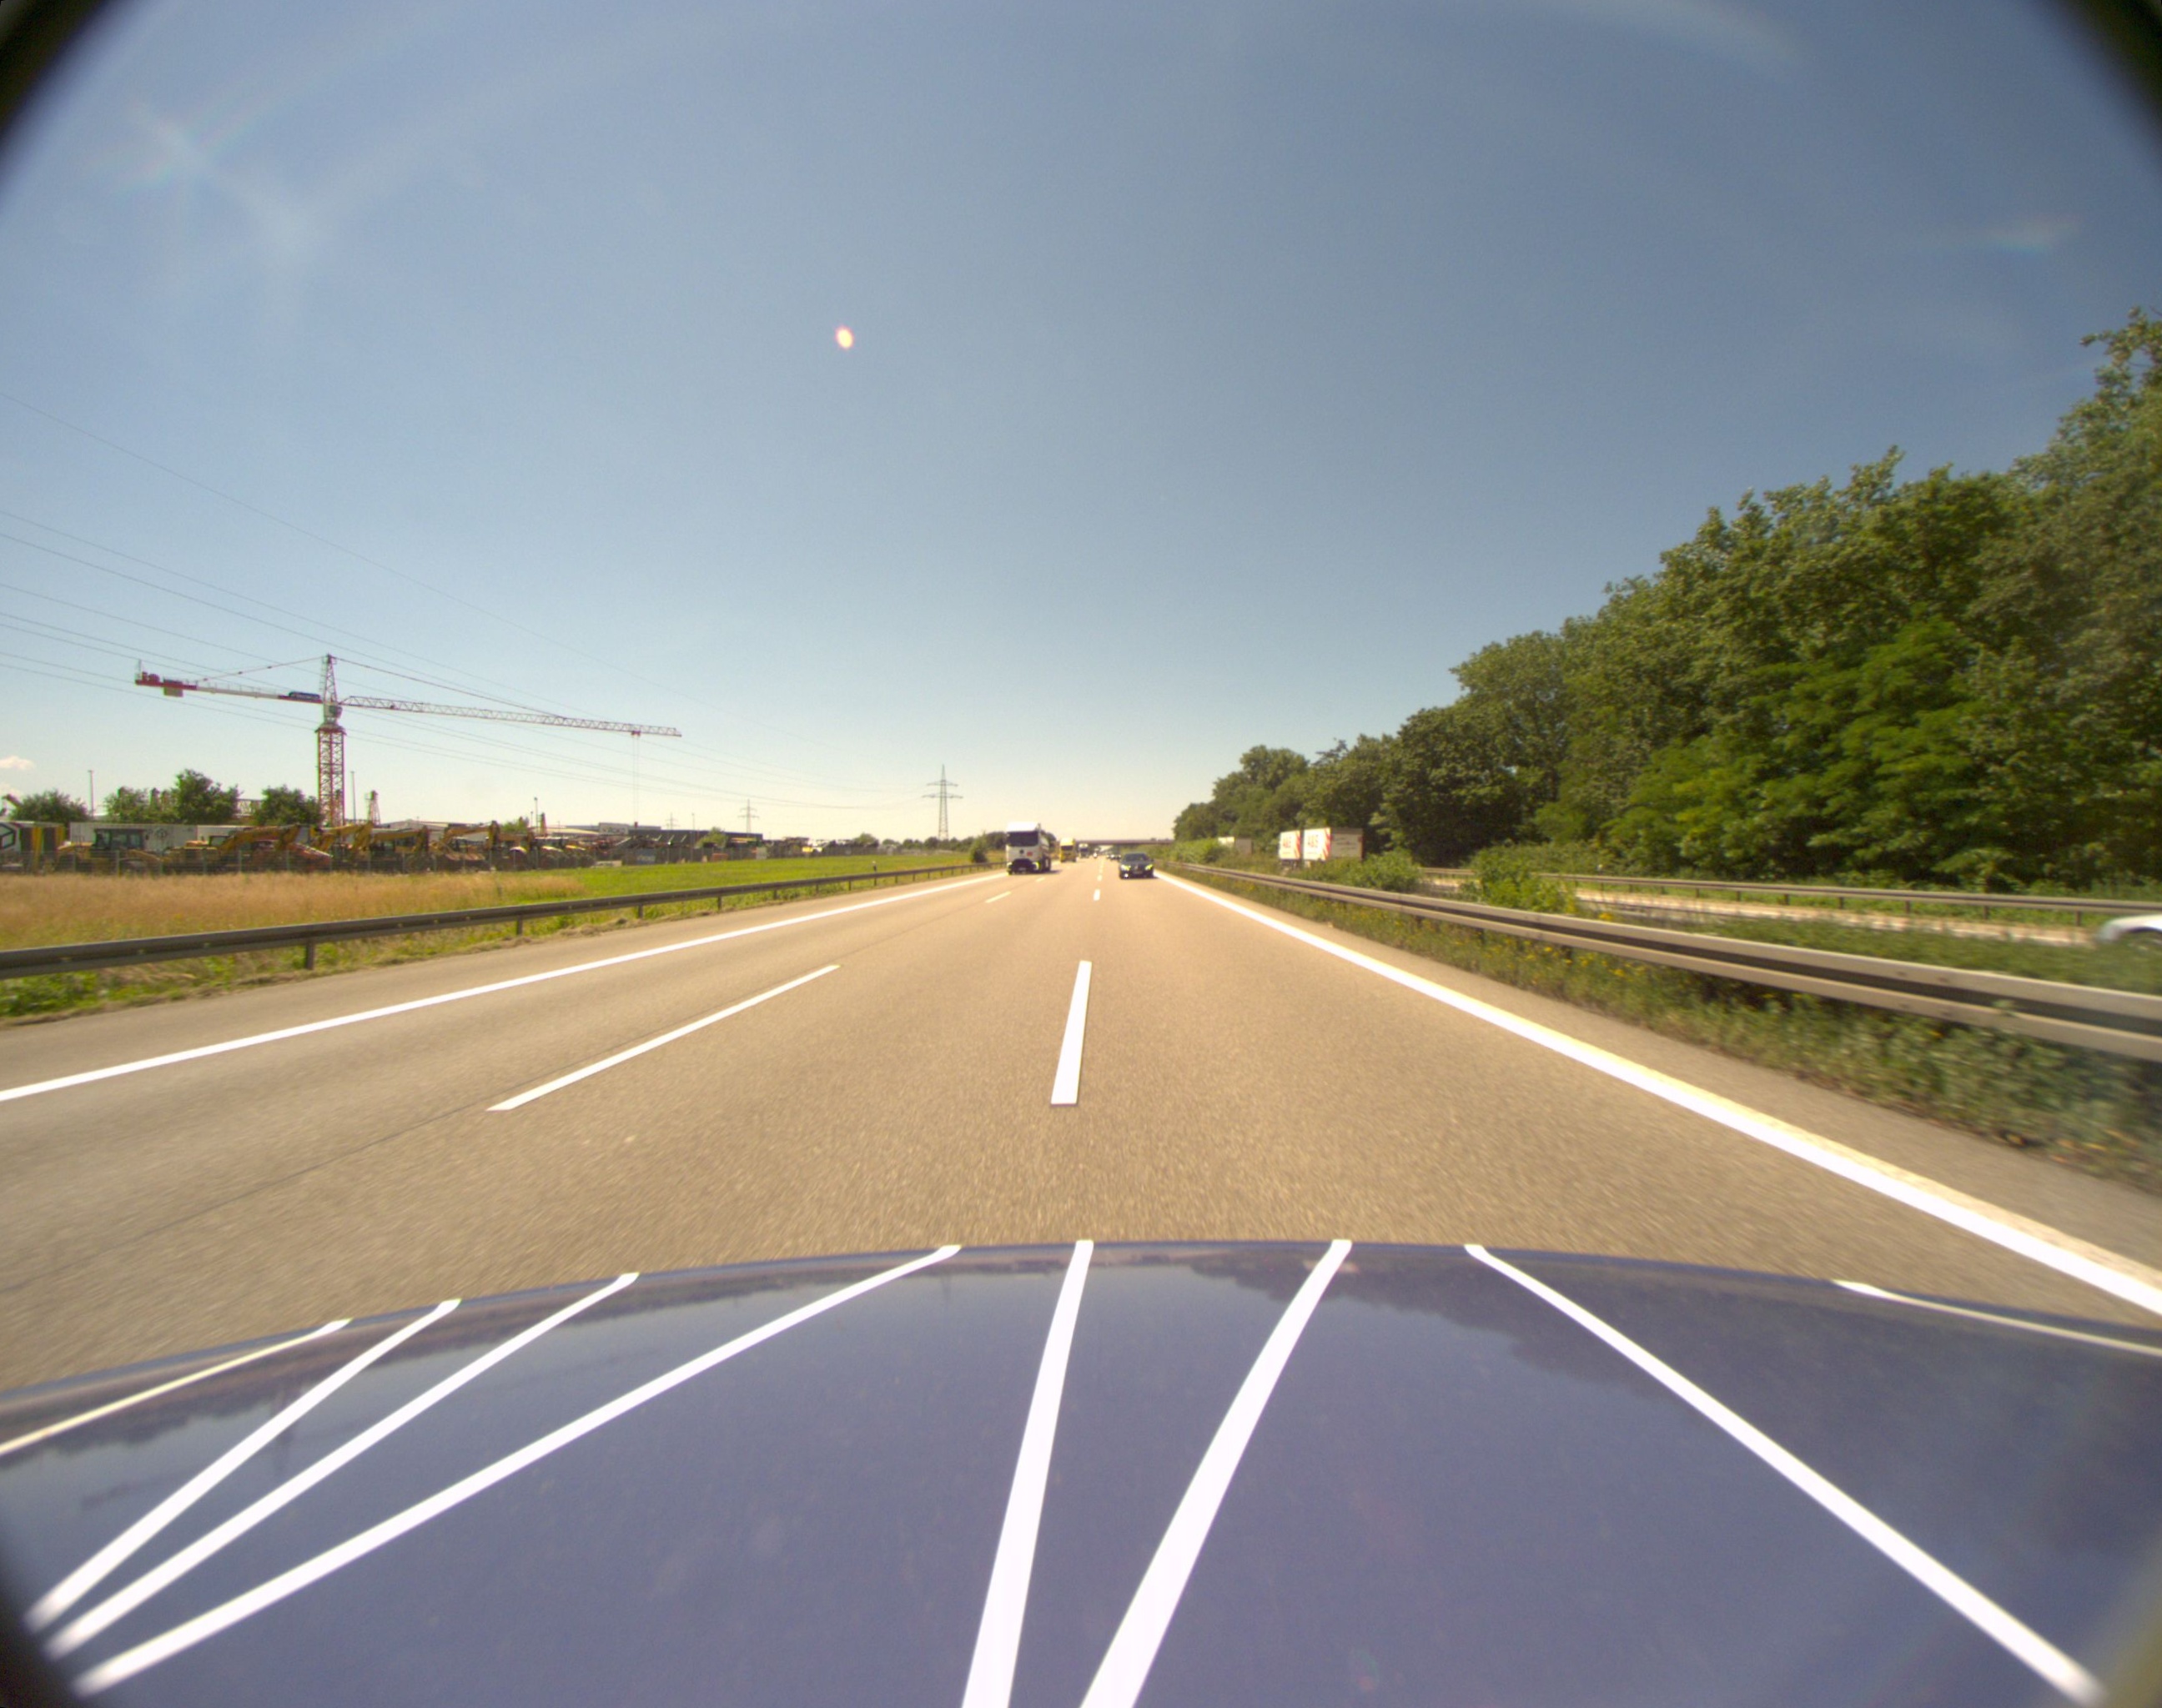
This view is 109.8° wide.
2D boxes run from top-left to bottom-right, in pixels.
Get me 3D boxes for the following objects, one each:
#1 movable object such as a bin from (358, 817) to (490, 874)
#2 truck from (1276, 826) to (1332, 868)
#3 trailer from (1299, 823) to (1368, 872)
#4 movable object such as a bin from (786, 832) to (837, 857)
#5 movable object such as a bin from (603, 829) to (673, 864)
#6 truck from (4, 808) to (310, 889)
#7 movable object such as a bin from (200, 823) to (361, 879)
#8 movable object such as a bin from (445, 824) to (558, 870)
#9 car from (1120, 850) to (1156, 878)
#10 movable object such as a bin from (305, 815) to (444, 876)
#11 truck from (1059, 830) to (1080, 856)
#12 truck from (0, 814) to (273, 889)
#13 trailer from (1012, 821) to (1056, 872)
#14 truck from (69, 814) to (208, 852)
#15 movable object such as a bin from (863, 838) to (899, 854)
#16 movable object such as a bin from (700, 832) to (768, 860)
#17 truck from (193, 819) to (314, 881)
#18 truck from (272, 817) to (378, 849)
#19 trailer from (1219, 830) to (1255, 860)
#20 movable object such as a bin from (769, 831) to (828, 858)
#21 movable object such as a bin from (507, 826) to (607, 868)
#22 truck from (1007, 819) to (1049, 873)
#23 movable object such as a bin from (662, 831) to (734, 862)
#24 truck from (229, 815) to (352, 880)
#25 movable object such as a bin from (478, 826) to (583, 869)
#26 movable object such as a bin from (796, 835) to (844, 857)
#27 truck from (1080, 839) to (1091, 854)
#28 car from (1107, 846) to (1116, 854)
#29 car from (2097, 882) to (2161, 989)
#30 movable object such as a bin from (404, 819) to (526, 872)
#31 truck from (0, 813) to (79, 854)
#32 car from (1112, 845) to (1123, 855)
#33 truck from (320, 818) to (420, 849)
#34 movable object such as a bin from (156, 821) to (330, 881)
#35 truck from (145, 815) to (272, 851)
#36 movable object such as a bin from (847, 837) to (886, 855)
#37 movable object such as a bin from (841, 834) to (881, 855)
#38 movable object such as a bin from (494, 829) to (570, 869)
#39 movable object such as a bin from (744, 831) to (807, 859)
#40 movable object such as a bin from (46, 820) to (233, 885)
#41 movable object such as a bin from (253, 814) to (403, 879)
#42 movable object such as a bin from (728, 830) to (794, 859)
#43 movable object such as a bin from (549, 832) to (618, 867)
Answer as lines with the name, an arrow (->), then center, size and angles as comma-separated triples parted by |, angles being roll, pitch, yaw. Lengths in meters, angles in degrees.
movable object such as a bin -> -54.851, -0.703, 63.565 | 8.112, 4.272, 3.351 | -2, 1, 3
truck -> 21.435, -0.680, 73.586 | 2.933, 3.806, 9.275 | 0, 1, 2
trailer -> 21.186, -0.565, 64.364 | 2.933, 3.806, 9.275 | 0, 1, 2
movable object such as a bin -> -50.943, -1.809, 143.700 | 8.112, 4.486, 3.351 | -2, 1, 3
movable object such as a bin -> -55.423, -0.910, 94.966 | 9.361, 4.029, 3.442 | -2, 1, 33
truck -> -62.657, -0.443, 52.706 | 3.051, 4.745, 14.324 | -2, 1, 3
movable object such as a bin -> -54.980, -0.184, 52.308 | 8.112, 3.443, 2.881 | -2, 1, 3
movable object such as a bin -> -54.379, -0.617, 71.441 | 8.112, 3.928, 3.137 | -2, 1, 3
car -> 3.171, 0.529, 42.828 | 1.807, 1.385, 4.000 | -2, 1, 1
movable object such as a bin -> -54.830, -0.654, 59.069 | 8.112, 4.272, 2.881 | -2, 1, 3
truck -> -1.849, -1.811, 129.513 | 2.977, 4.240, 12.610 | 0, 1, 1
truck -> -68.734, -0.248, 55.780 | 3.051, 4.745, 14.134 | -2, 1, 3
trailer -> -3.888, -0.698, 65.555 | 2.573, 3.871, 13.279 | -2, 1, 1
truck -> -89.242, -1.922, 72.143 | 8.178, 3.392, 2.833 | 1, 1, -14
movable object such as a bin -> -50.844, -2.058, 193.310 | 8.112, 3.916, 2.881 | -2, 1, 3
movable object such as a bin -> -54.763, -1.220, 119.923 | 9.370, 4.029, 3.439 | -2, 1, 13
truck -> -68.400, -0.340, 63.019 | 3.051, 4.745, 5.983 | -2, 1, 2
truck -> -83.995, -2.255, 84.603 | 8.174, 3.392, 2.834 | 1, 1, -10
trailer -> 22.759, -1.319, 111.772 | 2.543, 4.067, 14.245 | 1, 1, 1
movable object such as a bin -> -51.806, -1.729, 139.319 | 9.377, 4.486, 3.437 | -2, 1, 3
movable object such as a bin -> -54.332, -0.700, 78.877 | 8.112, 3.928, 3.137 | -2, 1, 3
truck -> -4.047, -0.621, 59.030 | 2.573, 3.871, 5.723 | -2, 1, 1
movable object such as a bin -> -54.483, -1.053, 108.199 | 9.366, 4.029, 3.441 | -2, 1, 20
truck -> -62.334, -0.536, 60.129 | 3.051, 4.745, 5.983 | -2, 1, 2
movable object such as a bin -> -54.508, -0.655, 75.361 | 8.112, 3.928, 3.137 | -2, 1, 3
movable object such as a bin -> -50.801, -1.605, 148.085 | 8.112, 3.883, 2.881 | -2, 1, 3
truck -> 1.364, -2.235, 218.255 | 2.977, 4.240, 12.610 | 0, 1, 1
car -> 6.626, -0.904, 166.400 | 1.861, 1.696, 4.000 | 0, 1, 1
car -> 15.038, 1.093, 8.401 | 1.858, 1.371, 4.310 | 0, 1, 1
movable object such as a bin -> -54.518, -0.757, 67.405 | 8.112, 4.272, 3.299 | -2, 1, 3
truck -> -92.245, -1.730, 64.790 | 8.178, 3.392, 2.833 | 1, 1, -14
car -> 6.225, -0.678, 129.485 | 1.861, 1.696, 4.000 | 0, 1, 1
truck -> -82.467, -2.352, 88.261 | 8.175, 3.392, 2.834 | 1, 1, -11
movable object such as a bin -> -53.754, -0.193, 48.869 | 8.112, 3.443, 2.881 | -2, 1, 3
truck -> -87.478, -2.034, 76.313 | 8.178, 3.392, 2.833 | 1, 1, -14
movable object such as a bin -> -49.662, -1.914, 176.029 | 8.112, 3.916, 2.881 | -2, 1, 3
movable object such as a bin -> -49.810, -2.102, 172.338 | 8.112, 4.349, 2.881 | -2, 1, 3
movable object such as a bin -> -71.594, -0.645, 99.151 | 8.476, 4.777, 3.296 | -2, 1, 16
movable object such as a bin -> -52.806, -1.608, 131.670 | 9.377, 4.486, 3.437 | -2, 1, 3
movable object such as a bin -> -55.564, -0.082, 44.966 | 7.582, 3.443, 2.881 | -2, 1, 3
movable object such as a bin -> -54.861, -0.546, 55.477 | 8.112, 4.272, 2.881 | -2, 1, 3
movable object such as a bin -> -52.908, -1.541, 125.877 | 9.377, 4.486, 3.437 | -2, 1, 3
movable object such as a bin -> -72.081, -0.691, 110.038 | 9.584, 4.716, 3.143 | -2, 1, 21
